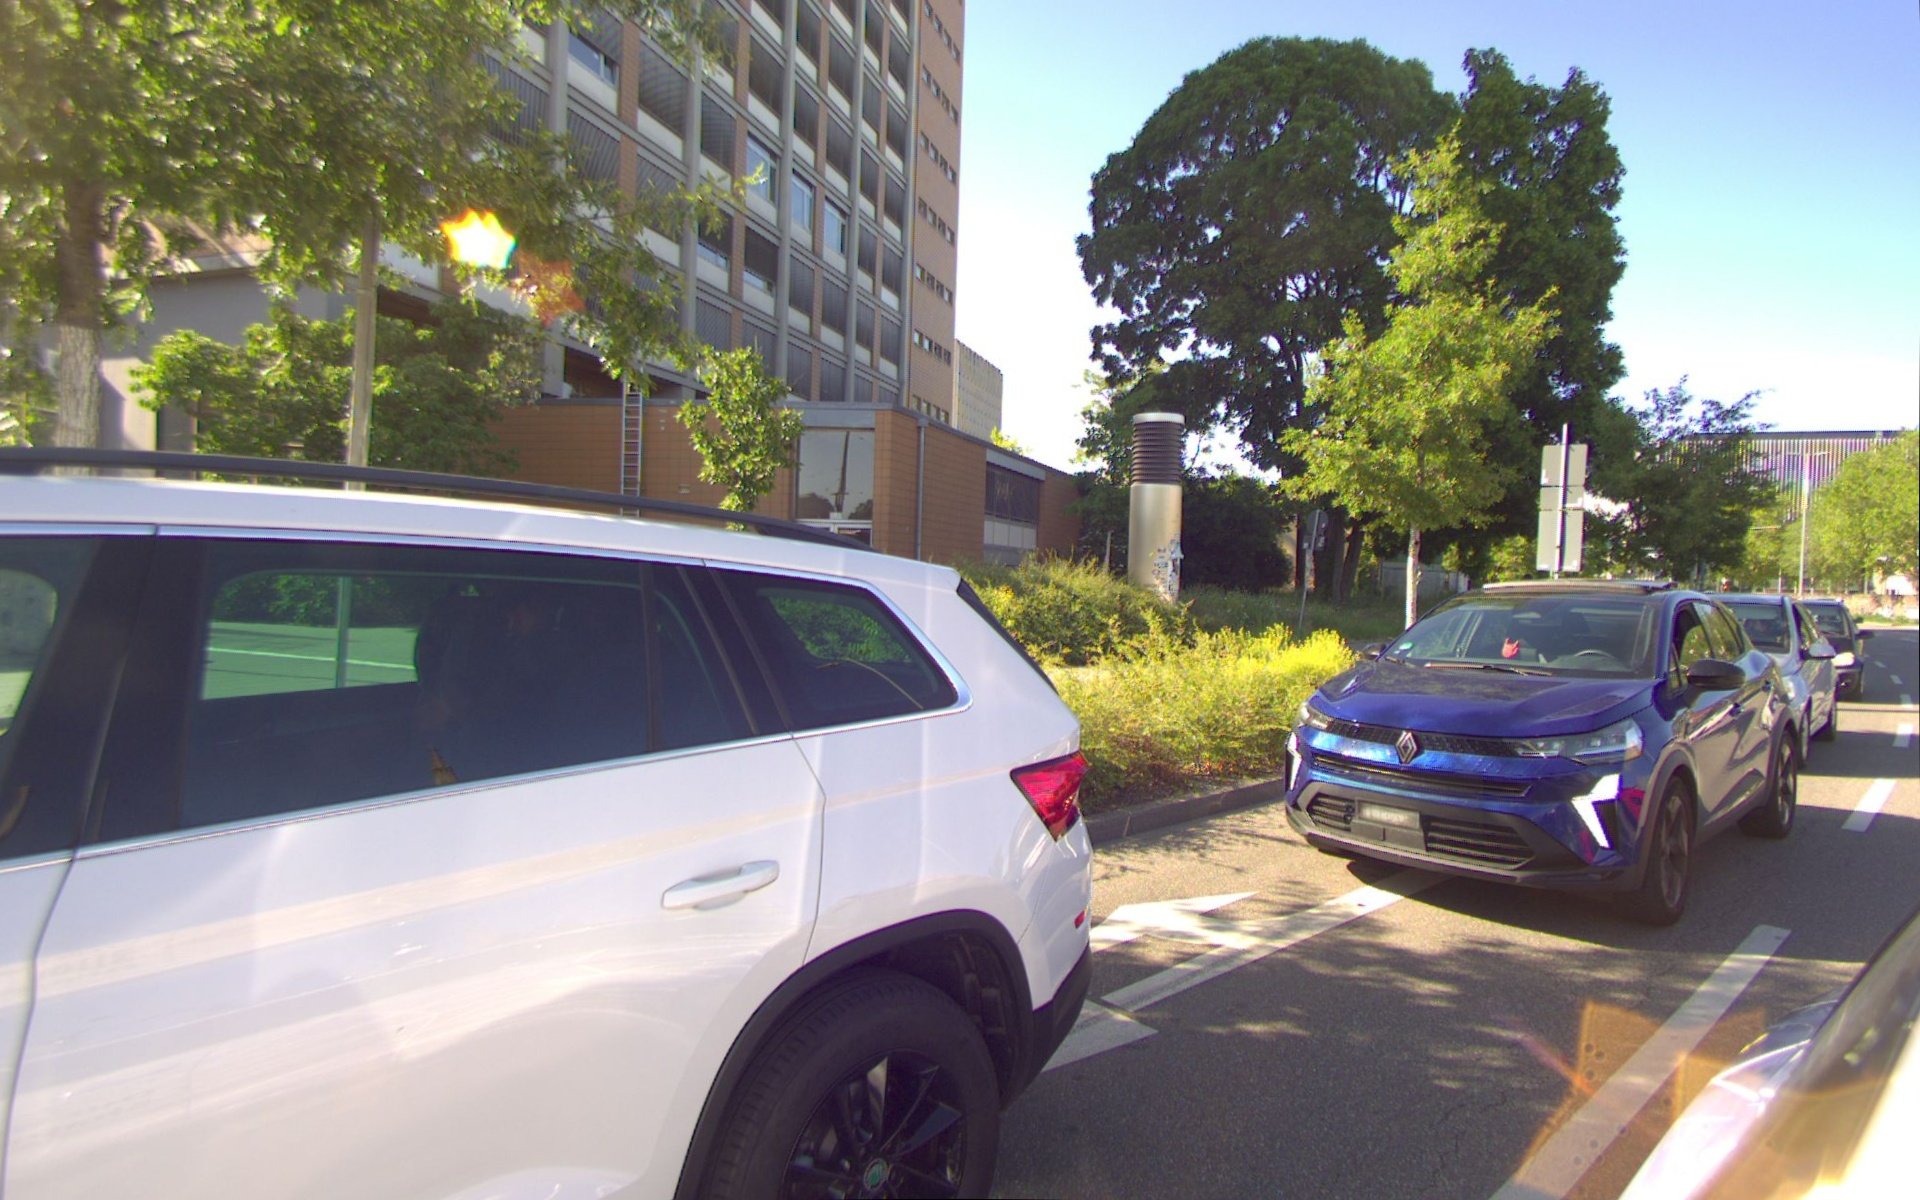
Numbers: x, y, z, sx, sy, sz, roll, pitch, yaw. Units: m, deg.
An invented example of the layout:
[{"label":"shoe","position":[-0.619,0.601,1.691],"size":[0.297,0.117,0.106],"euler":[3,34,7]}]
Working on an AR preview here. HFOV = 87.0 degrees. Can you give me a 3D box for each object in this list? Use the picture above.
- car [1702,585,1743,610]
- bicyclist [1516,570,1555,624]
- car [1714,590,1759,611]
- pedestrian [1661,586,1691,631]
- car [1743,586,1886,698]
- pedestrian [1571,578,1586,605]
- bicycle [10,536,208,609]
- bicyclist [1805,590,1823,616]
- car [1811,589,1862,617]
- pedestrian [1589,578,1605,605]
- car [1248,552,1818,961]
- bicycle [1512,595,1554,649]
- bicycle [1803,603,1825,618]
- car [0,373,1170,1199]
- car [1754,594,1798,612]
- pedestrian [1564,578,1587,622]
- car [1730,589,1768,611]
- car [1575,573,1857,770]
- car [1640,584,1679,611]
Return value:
[{"label":"car","position":[64.853,-0.263,86.146],"size":[1.767,2.039,4.201],"euler":[1,1,22]},{"label":"bicyclist","position":[14.407,-0.083,25.328],"size":[0.718,1.294,0.896],"euler":[4,3,34]},{"label":"car","position":[52.605,0.007,68.623],"size":[1.736,1.396,3.540],"euler":[1,1,27]},{"label":"pedestrian","position":[26.538,0.293,37.517],"size":[0.684,1.624,0.657],"euler":[2,1,19]},{"label":"car","position":[14.409,0.618,17.007],"size":[1.646,1.631,3.435],"euler":[3,2,43]},{"label":"pedestrian","position":[46.331,-0.635,75.797],"size":[0.811,1.941,0.767],"euler":[0,0,20]},{"label":"bicycle","position":[-17.557,-0.551,21.019],"size":[0.790,1.394,3.111],"euler":[2,1,26]},{"label":"bicyclist","position":[51.552,0.180,61.093],"size":[0.688,1.578,0.808],"euler":[0,0,26]},{"label":"car","position":[55.381,0.161,63.978],"size":[1.509,1.700,3.353],"euler":[1,0,24]},{"label":"pedestrian","position":[47.274,-0.629,75.095],"size":[0.811,1.941,0.767],"euler":[0,0,20]},{"label":"car","position":[3.583,0.607,5.991],"size":[4.013,1.626,1.704],"euler":[0,1,-41]},{"label":"bicycle","position":[14.384,0.521,25.383],"size":[0.688,1.232,1.812],"euler":[5,3,35]},{"label":"bicycle","position":[51.550,0.629,61.097],"size":[0.584,0.900,1.640],"euler":[0,0,26]},{"label":"car","position":[-1.629,0.562,1.683],"size":[4.223,1.662,1.697],"euler":[0,2,-42]},{"label":"car","position":[58.970,0.193,73.183],"size":[1.569,1.219,3.967],"euler":[0,2,25]},{"label":"pedestrian","position":[23.278,-0.020,38.261],"size":[0.688,1.624,0.654],"euler":[2,1,33]},{"label":"car","position":[61.816,-0.011,79.317],"size":[1.578,1.625,3.048],"euler":[2,1,23]},{"label":"car","position":[8.064,0.596,10.654],"size":[3.977,1.644,1.782],"euler":[0,2,-45]},{"label":"car","position":[51.131,-0.179,74.062],"size":[1.811,1.876,3.717],"euler":[2,1,27]}]
